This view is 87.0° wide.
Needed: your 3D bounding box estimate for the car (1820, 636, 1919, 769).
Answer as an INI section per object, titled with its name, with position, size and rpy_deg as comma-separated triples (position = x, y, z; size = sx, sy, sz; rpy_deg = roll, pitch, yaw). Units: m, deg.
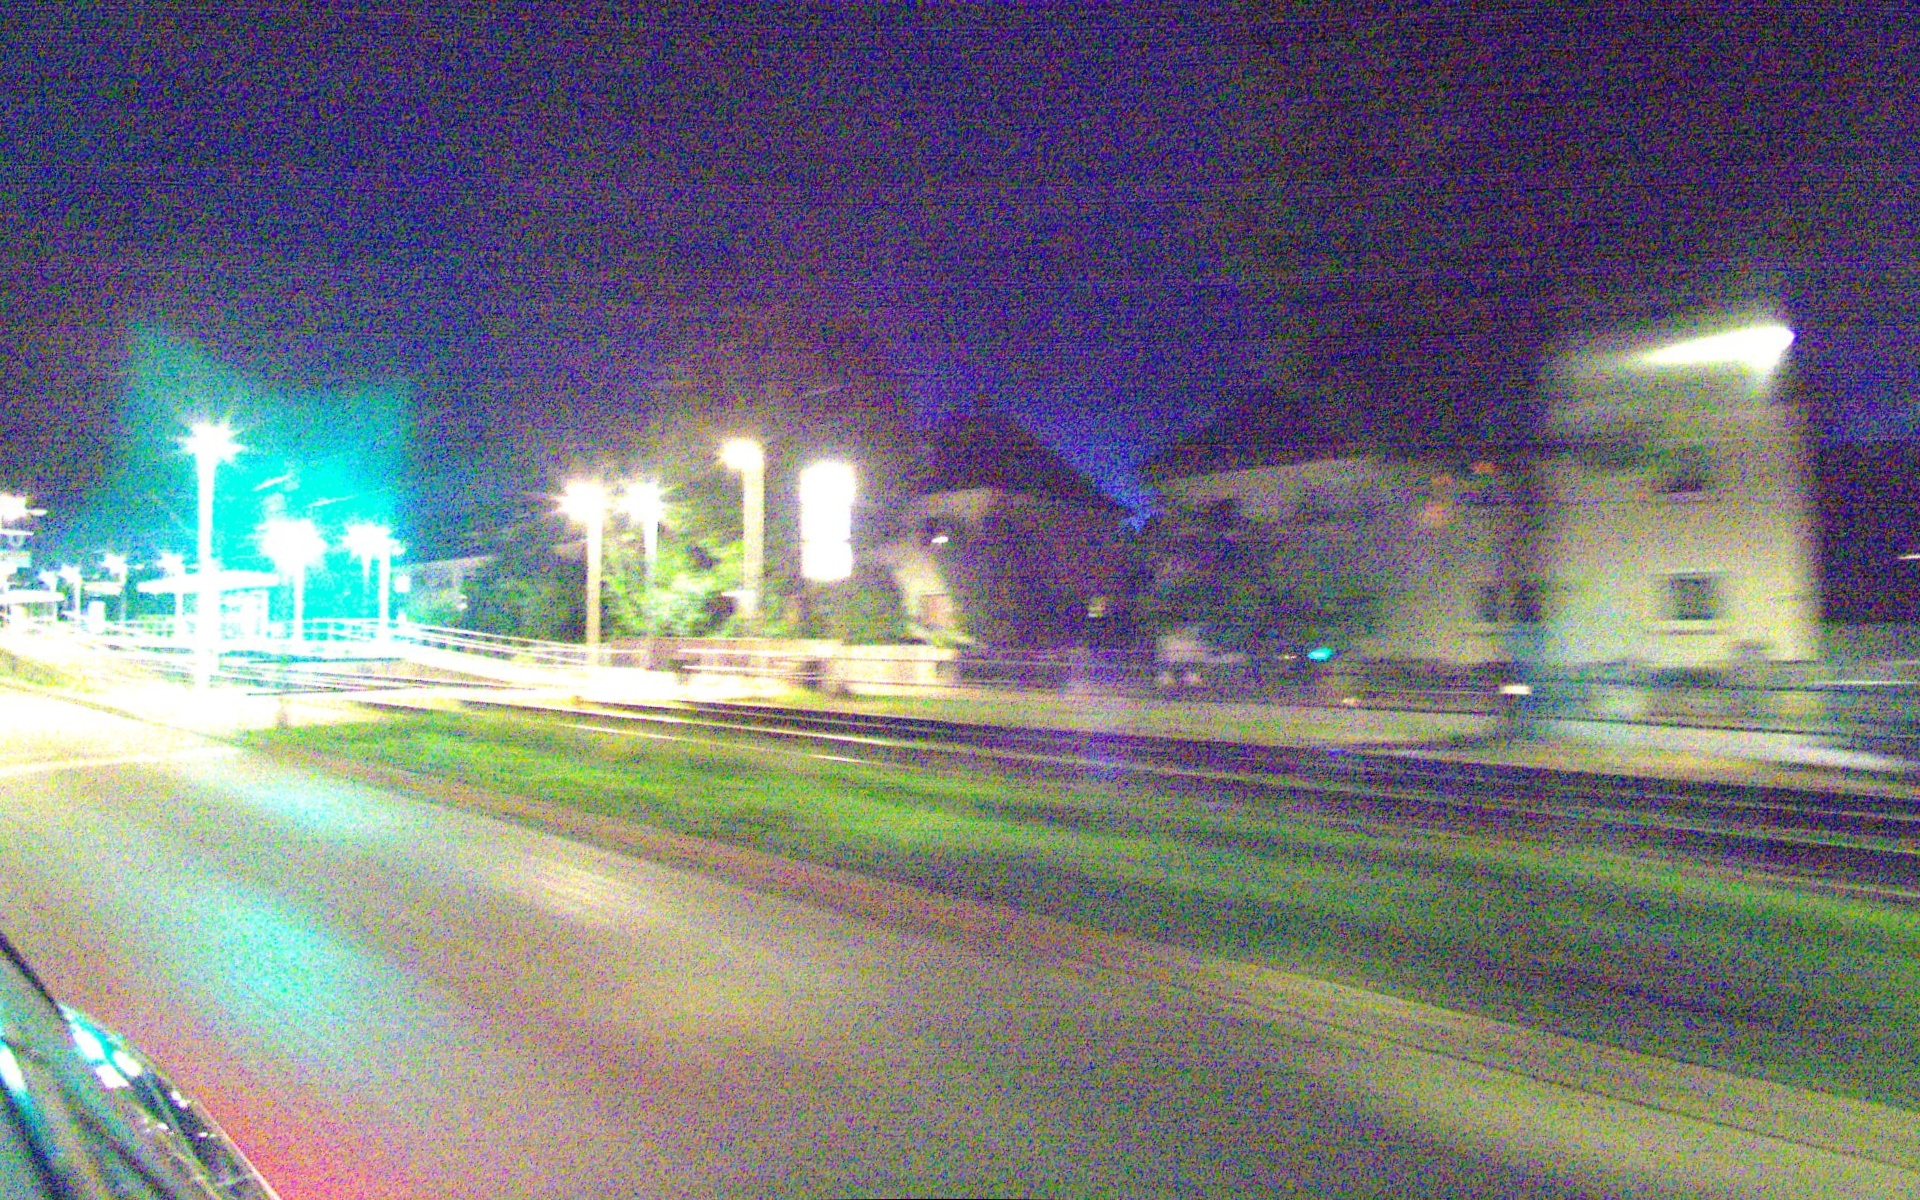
[car]
position = 11.458, 1.095, 9.936
size = 4.541, 1.350, 1.628
rpy_deg = -2, -7, 42
